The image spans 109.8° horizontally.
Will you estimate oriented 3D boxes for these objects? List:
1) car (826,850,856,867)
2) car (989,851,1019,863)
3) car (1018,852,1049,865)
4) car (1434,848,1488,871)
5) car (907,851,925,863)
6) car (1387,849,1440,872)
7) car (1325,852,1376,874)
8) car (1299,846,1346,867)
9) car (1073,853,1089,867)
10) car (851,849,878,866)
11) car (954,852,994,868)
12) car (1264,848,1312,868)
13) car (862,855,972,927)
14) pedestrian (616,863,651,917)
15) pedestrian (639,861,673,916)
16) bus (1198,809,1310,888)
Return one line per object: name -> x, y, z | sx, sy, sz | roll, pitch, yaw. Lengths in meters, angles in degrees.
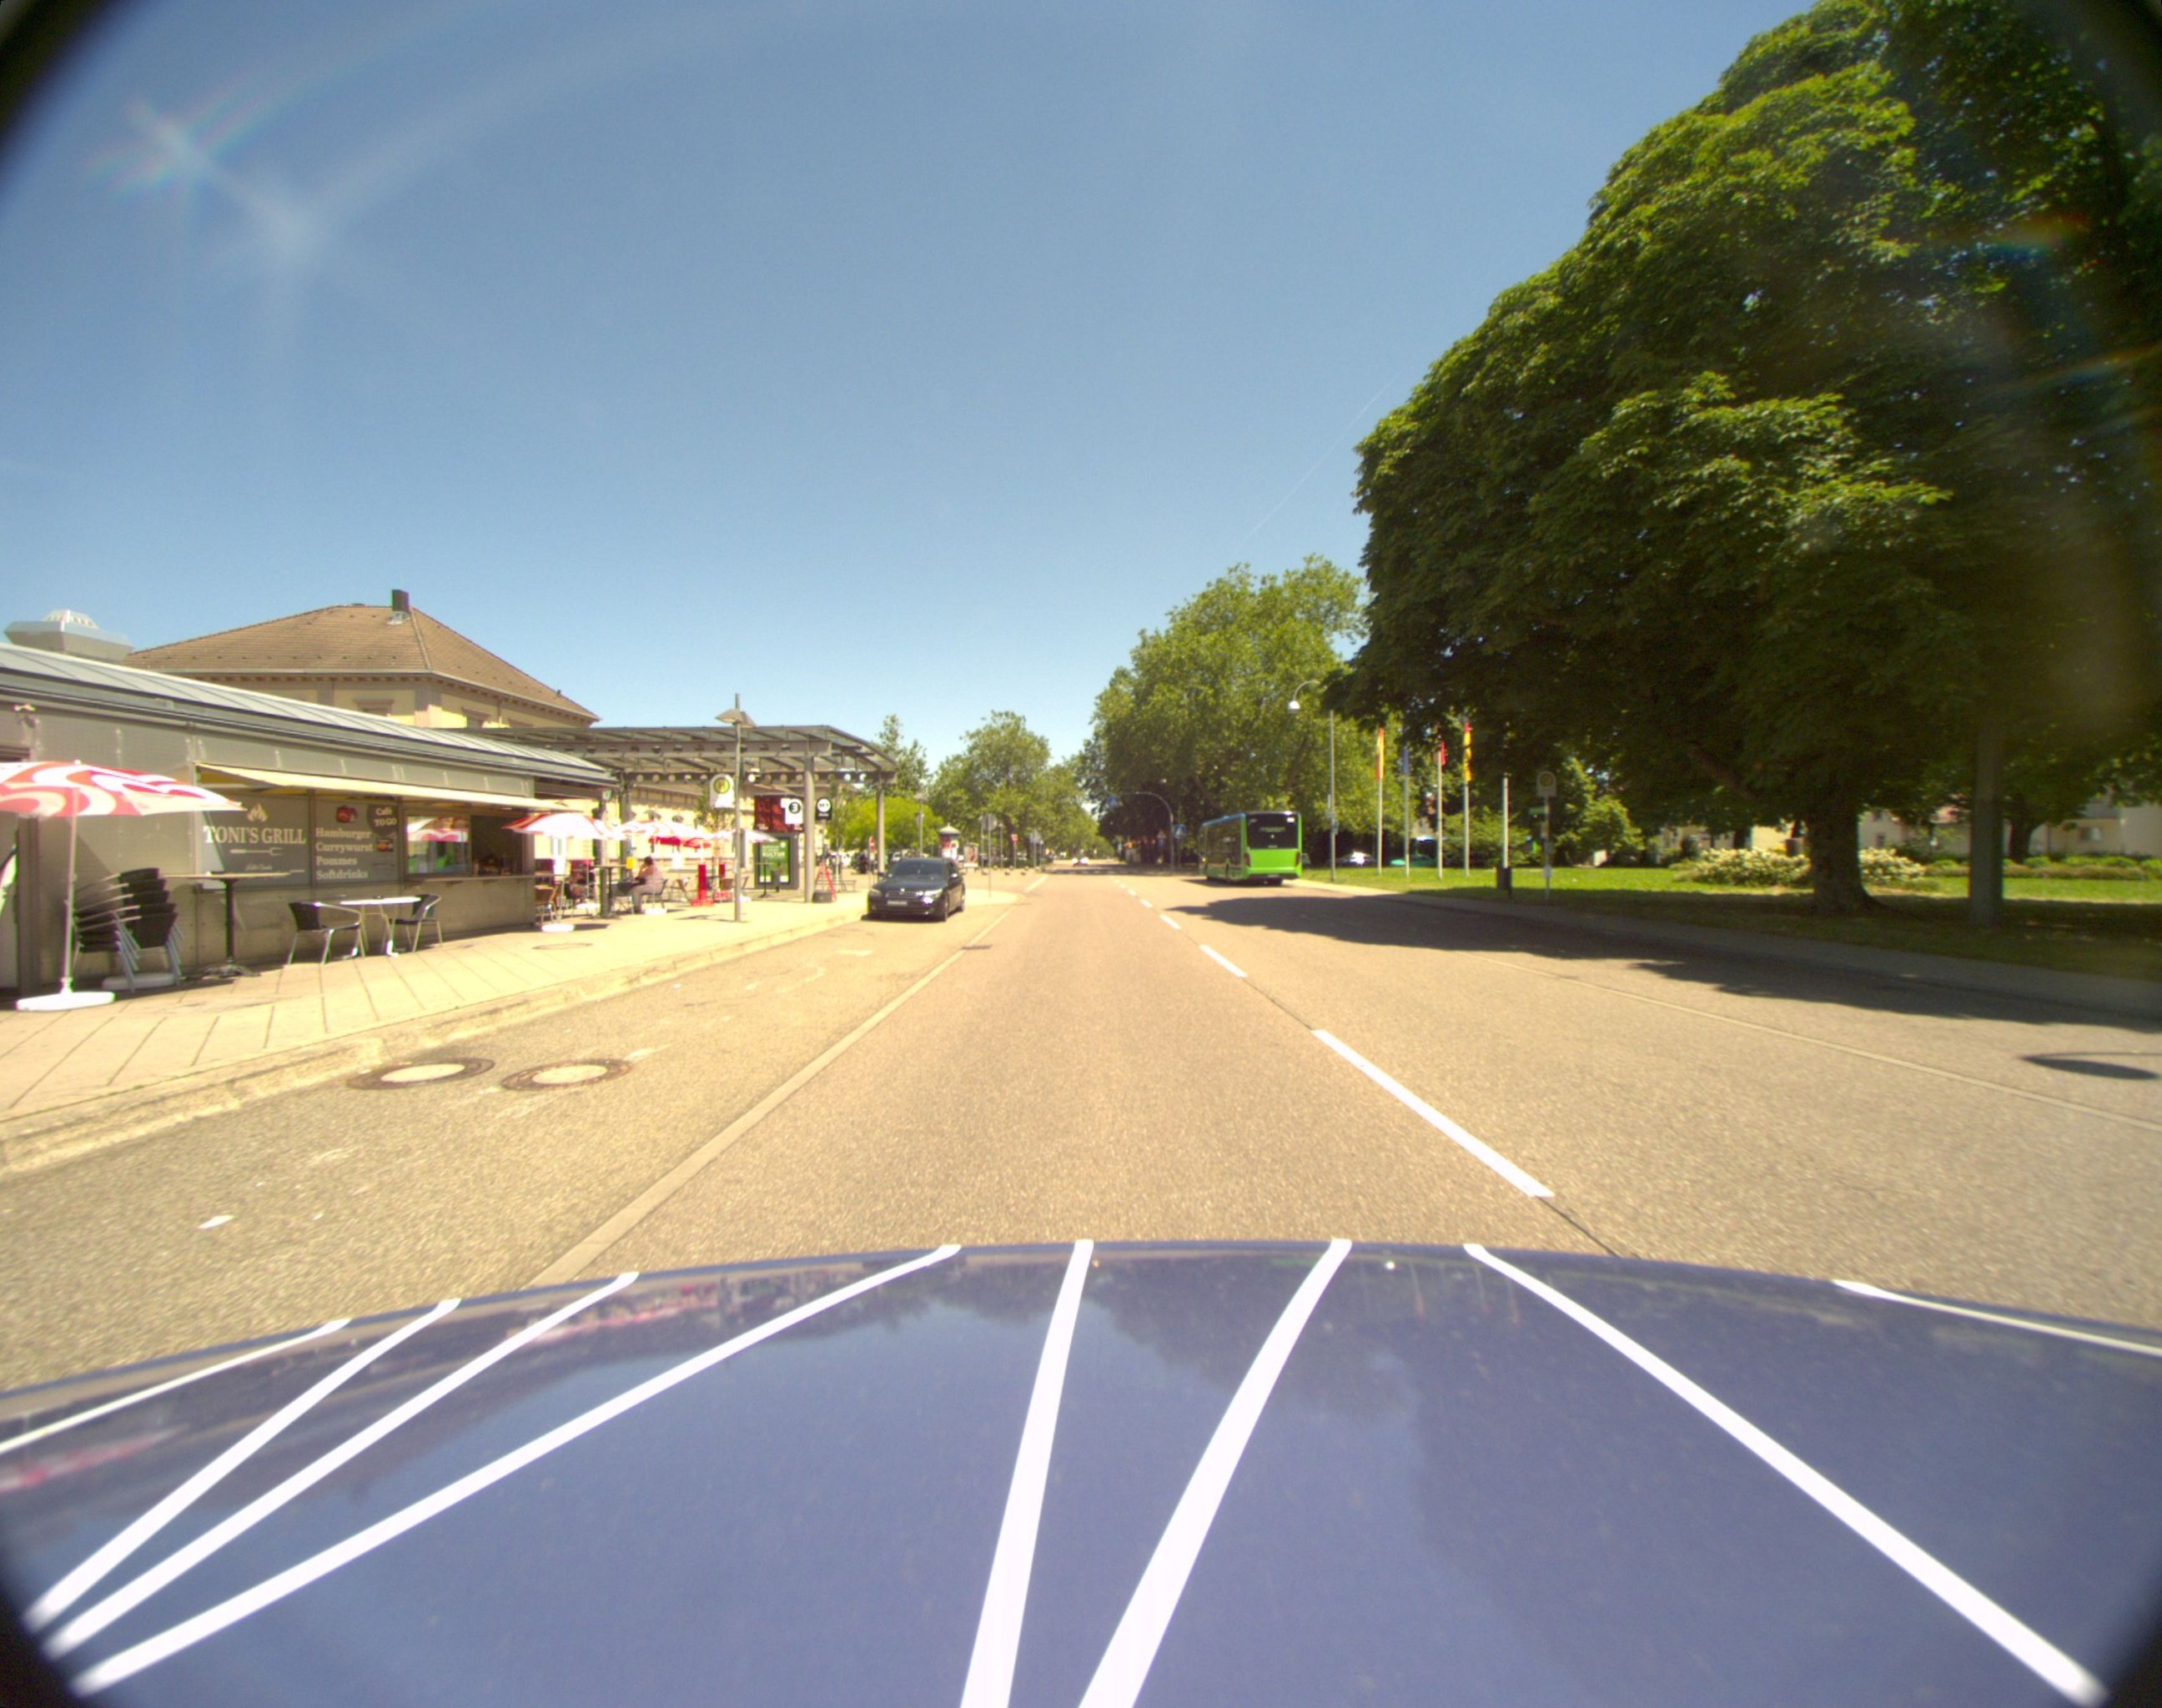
car -> -26.918, 0.488, 85.266 | 1.998, 1.869, 4.000 | 0, 1, 1
car -> -10.525, 0.424, 103.686 | 3.999, 1.655, 1.999 | -1, 1, -6
car -> -6.197, 0.564, 99.328 | 3.999, 1.655, 1.999 | -1, 1, -6
car -> 34.838, 0.490, 69.741 | 3.997, 2.002, 2.000 | 0, 1, 0
car -> -27.238, 0.454, 125.436 | 1.998, 2.002, 4.000 | 0, 1, 1
car -> 30.477, 0.565, 69.644 | 3.997, 2.002, 2.000 | 0, 1, 0
car -> 24.596, 0.798, 69.470 | 3.996, 2.002, 2.000 | 0, 1, 3
car -> 23.883, 0.218, 75.219 | 3.988, 2.002, 2.004 | 0, 1, 36
car -> 0.010, 0.701, 91.605 | 1.778, 1.536, 4.182 | 1, 1, 1
car -> -26.462, 0.449, 93.029 | 1.998, 2.002, 4.000 | 0, 1, 1
car -> -11.302, 0.615, 80.294 | 3.998, 1.655, 1.999 | -1, 1, -3
car -> 19.092, 0.396, 70.179 | 3.996, 1.793, 2.000 | 0, 1, 3
car -> -3.961, 0.819, 19.043 | 1.778, 1.536, 4.182 | 1, 1, 1
pedestrian -> -10.167, 0.818, 17.268 | 0.489, 1.204, 0.472 | 0, 1, 7
pedestrian -> -9.761, 0.789, 17.455 | 0.504, 1.225, 0.513 | -1, 1, -10
bus -> 8.156, -0.273, 37.698 | 2.814, 3.283, 11.856 | -1, 0, 0
